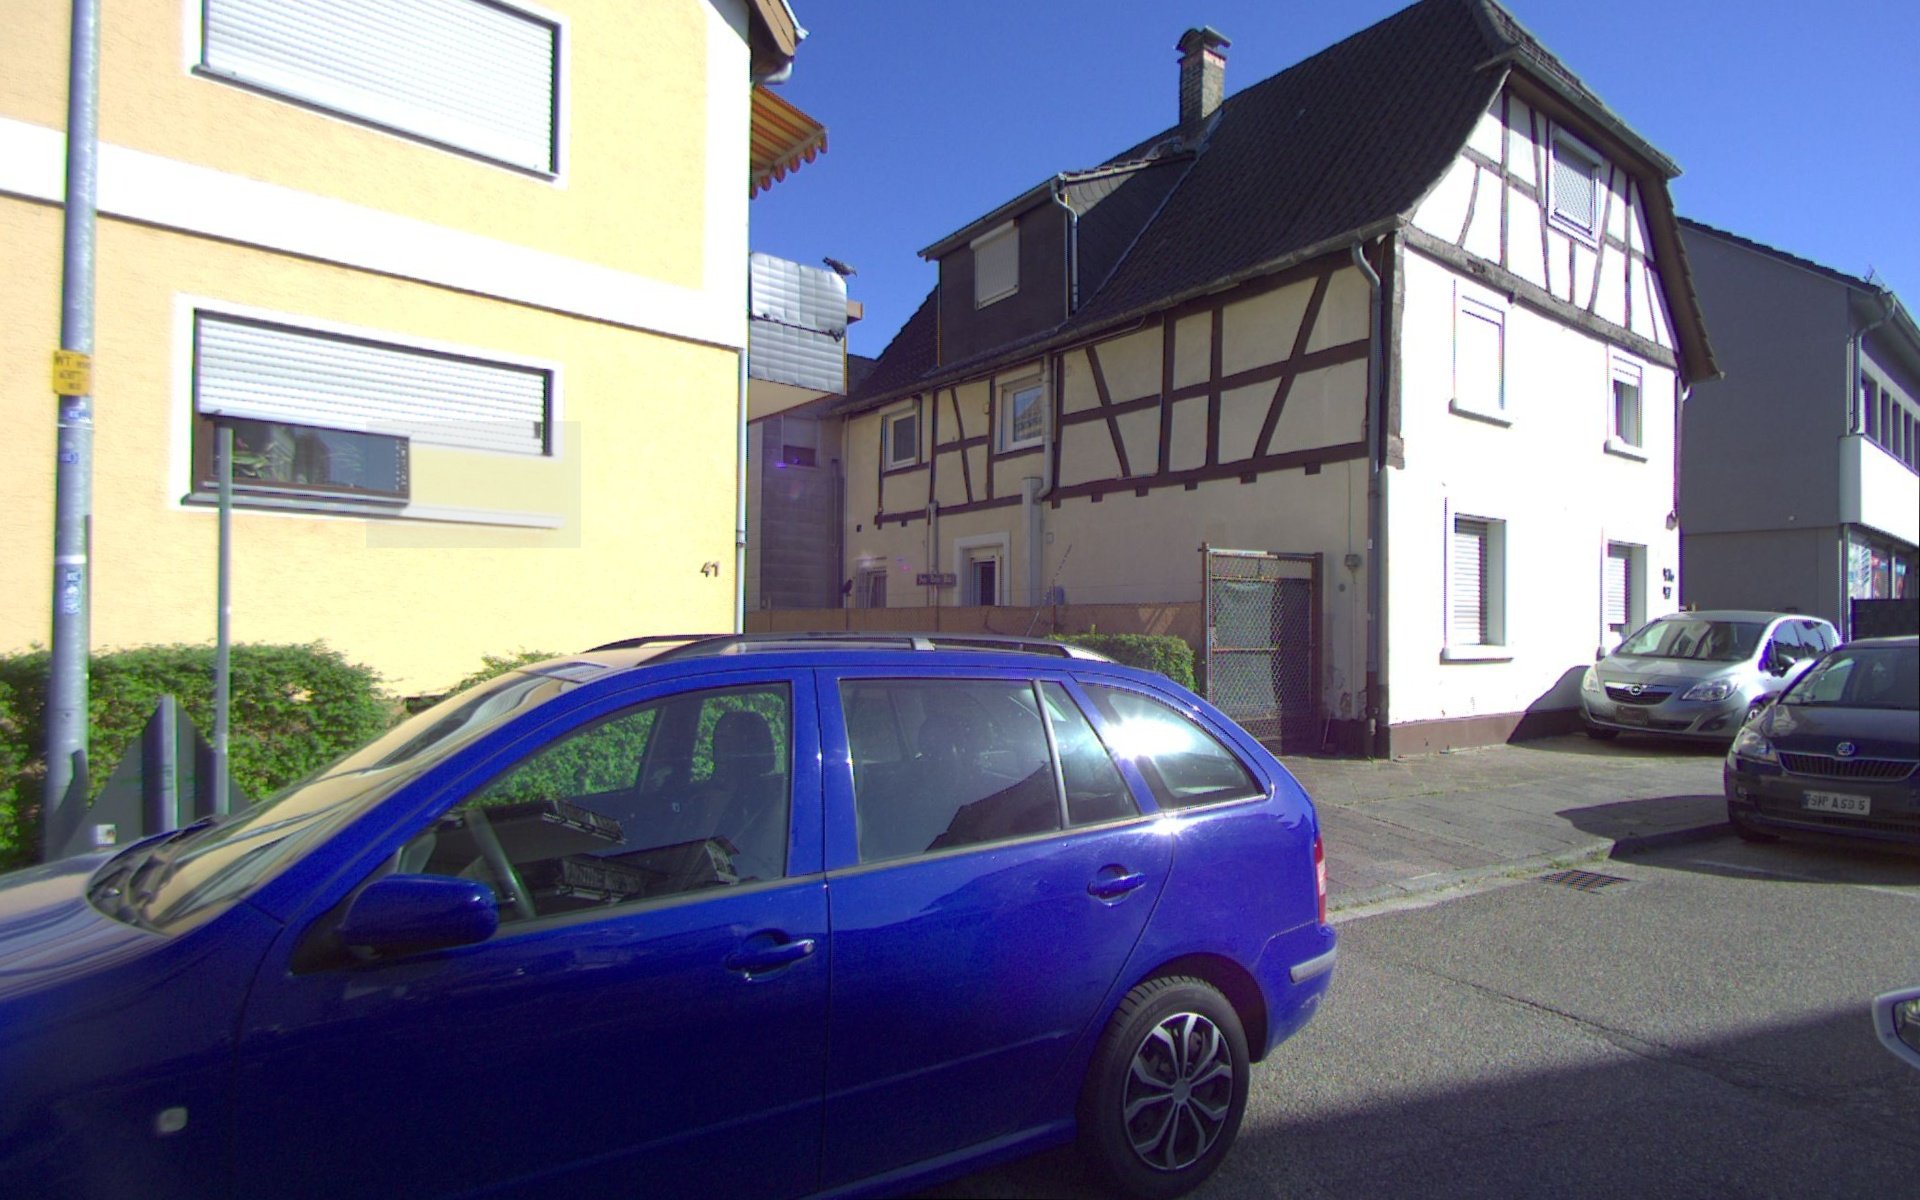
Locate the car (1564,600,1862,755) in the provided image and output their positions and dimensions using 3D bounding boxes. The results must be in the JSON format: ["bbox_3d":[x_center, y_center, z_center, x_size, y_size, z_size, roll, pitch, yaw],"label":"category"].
[{"bbox_3d":[9.217,0.853,12.209,4.068,1.608,1.632,1,-2,-33],"label":"car"}]

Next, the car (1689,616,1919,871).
[{"bbox_3d":[7.149,0.898,7.247,3.638,1.527,1.649,1,-2,-29],"label":"car"}]

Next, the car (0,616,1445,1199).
[{"bbox_3d":[-0.637,0.799,2.717,3.910,1.458,1.611,1,-2,-30],"label":"car"}]
